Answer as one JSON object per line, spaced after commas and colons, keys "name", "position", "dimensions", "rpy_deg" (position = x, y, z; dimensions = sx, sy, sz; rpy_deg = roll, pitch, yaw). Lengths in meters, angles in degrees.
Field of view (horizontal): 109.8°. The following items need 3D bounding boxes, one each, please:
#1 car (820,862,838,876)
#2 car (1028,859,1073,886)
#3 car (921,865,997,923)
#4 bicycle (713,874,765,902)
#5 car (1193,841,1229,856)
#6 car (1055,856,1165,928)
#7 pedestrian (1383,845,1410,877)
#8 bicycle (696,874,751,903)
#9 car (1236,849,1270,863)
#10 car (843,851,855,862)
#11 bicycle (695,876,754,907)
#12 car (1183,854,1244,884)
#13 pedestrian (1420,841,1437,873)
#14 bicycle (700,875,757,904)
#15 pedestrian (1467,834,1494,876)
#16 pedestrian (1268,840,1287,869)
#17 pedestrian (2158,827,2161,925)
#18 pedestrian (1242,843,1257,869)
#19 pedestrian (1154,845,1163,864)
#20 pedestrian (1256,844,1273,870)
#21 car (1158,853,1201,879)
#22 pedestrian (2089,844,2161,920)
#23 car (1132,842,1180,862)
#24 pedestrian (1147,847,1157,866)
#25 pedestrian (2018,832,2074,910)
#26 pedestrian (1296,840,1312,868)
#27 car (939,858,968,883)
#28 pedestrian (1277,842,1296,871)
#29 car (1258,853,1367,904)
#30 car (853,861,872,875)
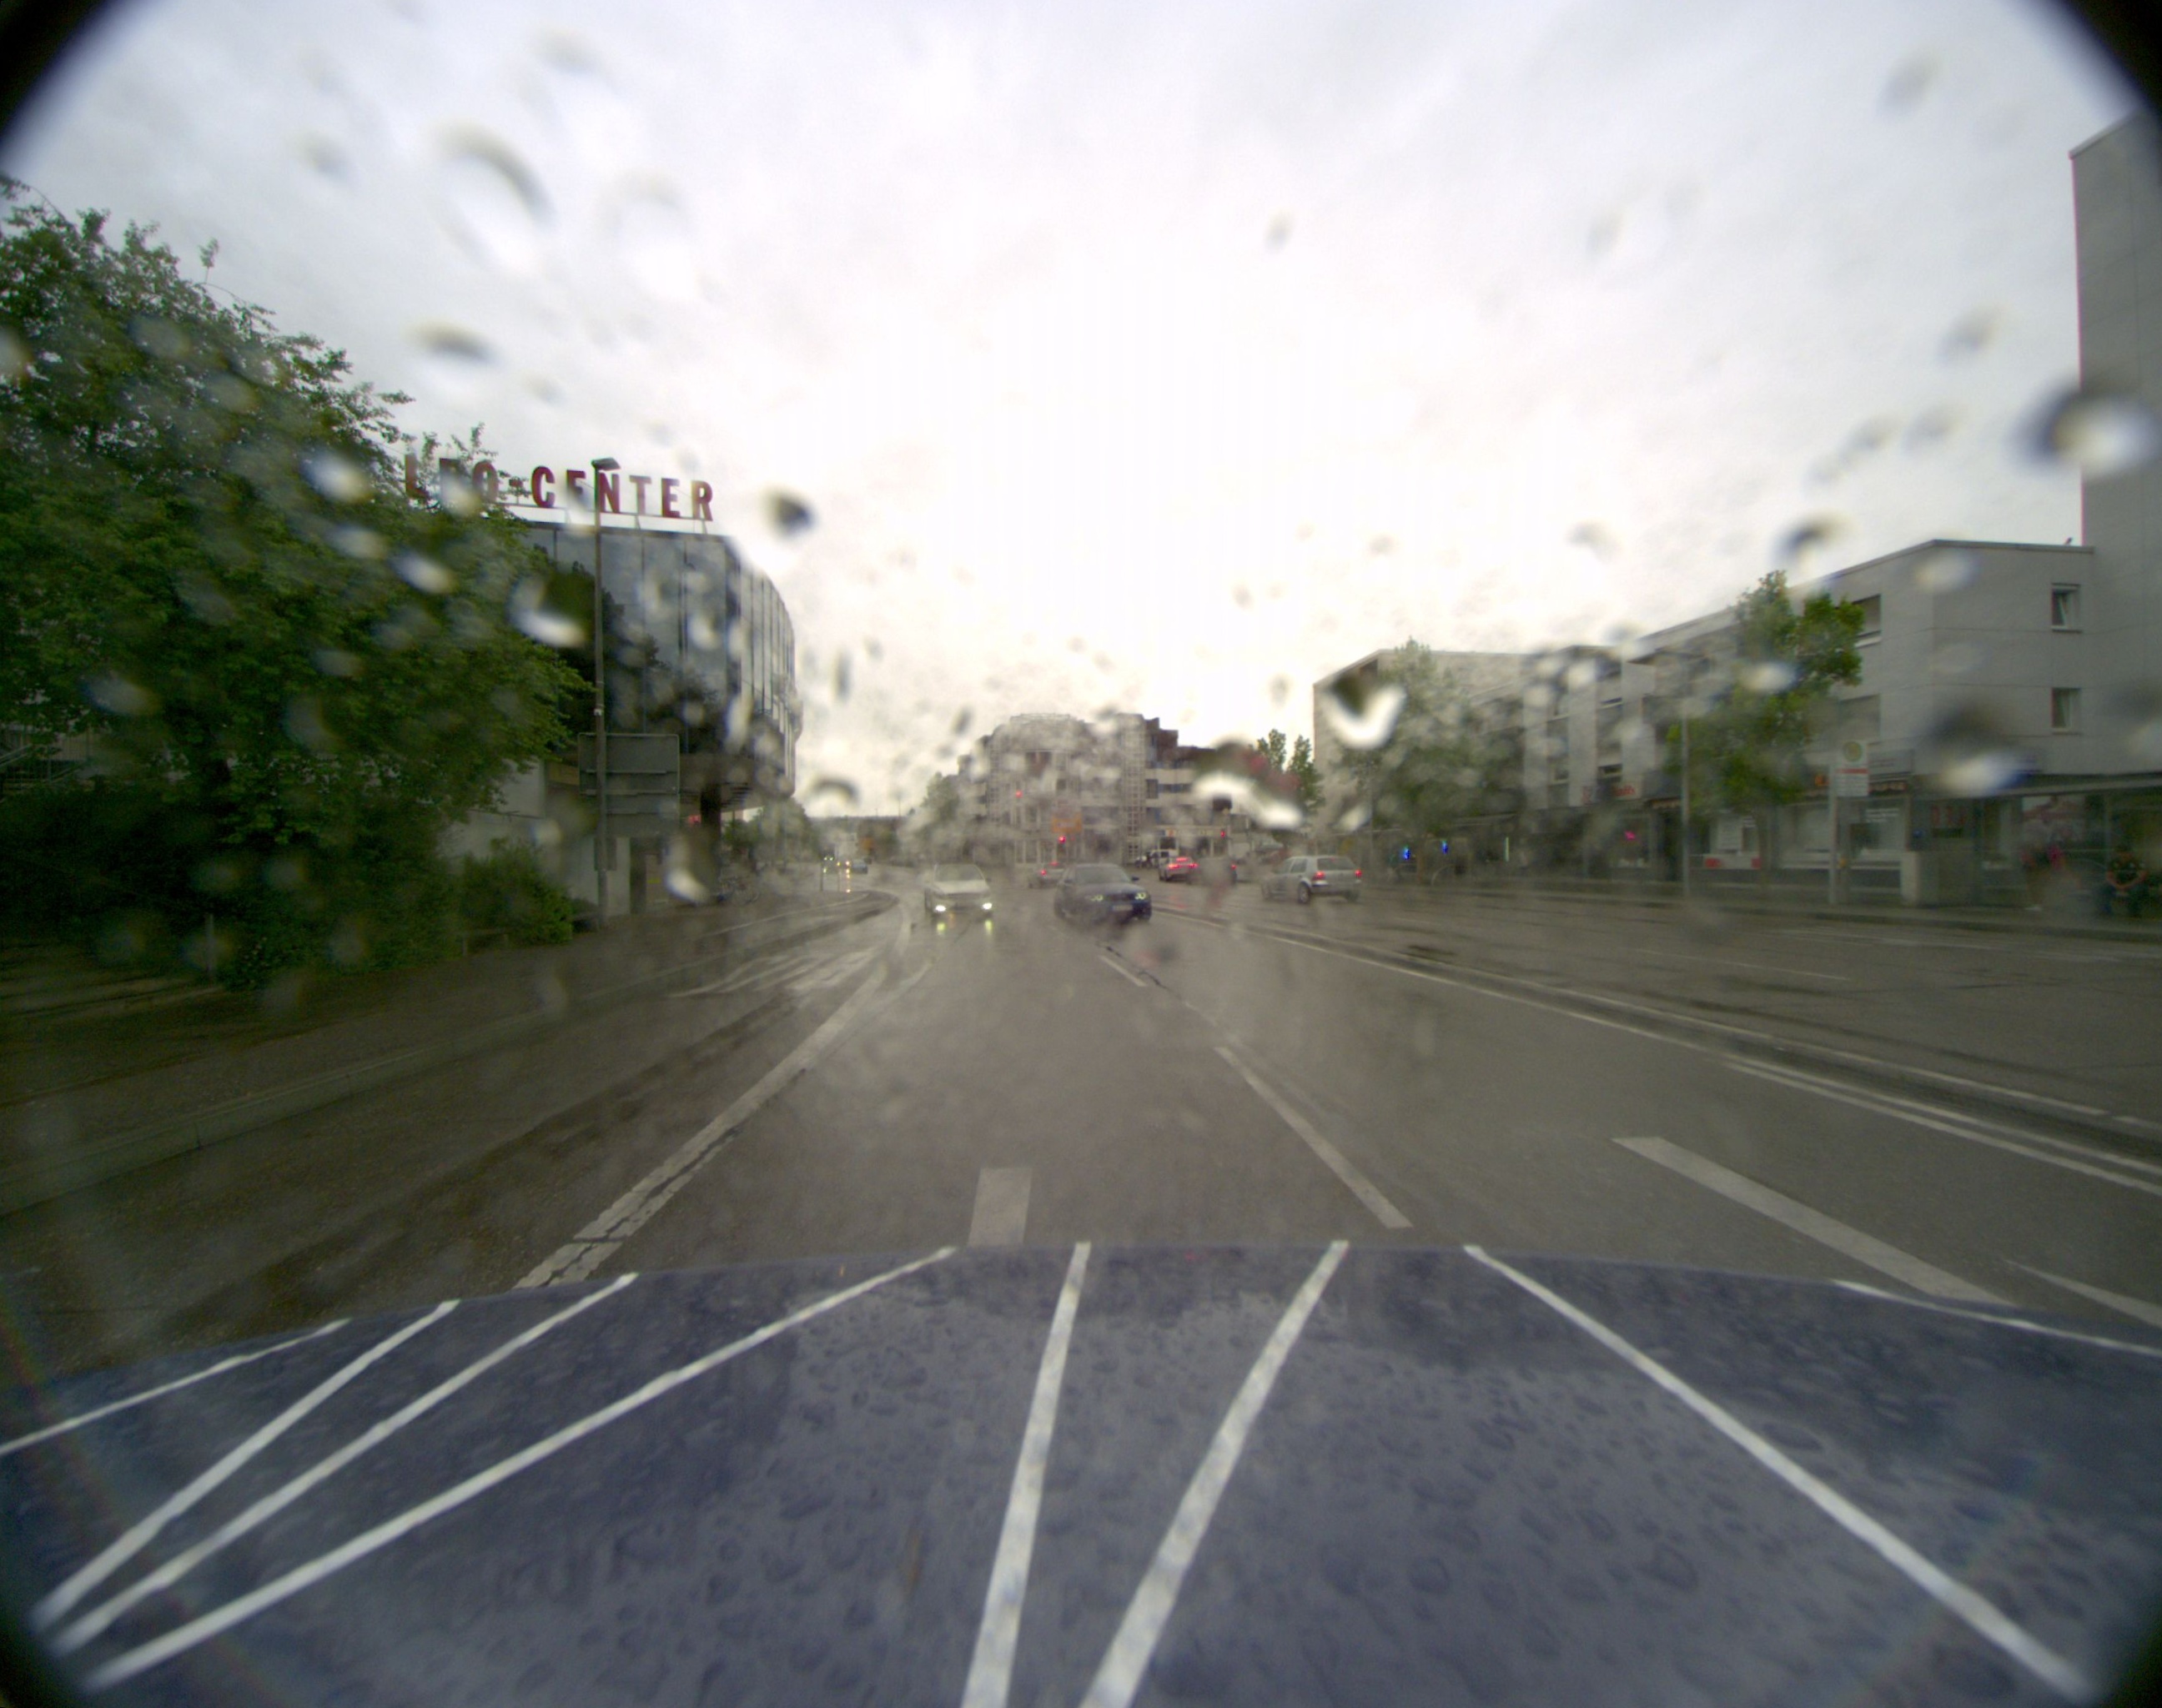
{"name": "car", "position": [-29.019, 1.698, 87.465], "dimensions": [1.903, 1.517, 3.994], "rpy_deg": [-1, 0, -18]}
{"name": "car", "position": [-1.820, 1.074, 43.926], "dimensions": [1.764, 1.442, 3.995], "rpy_deg": [-1, -1, -15]}
{"name": "car", "position": [-3.845, 1.150, 23.436], "dimensions": [1.764, 1.540, 4.320], "rpy_deg": [-1, 0, -16]}
{"name": "bicycle", "position": [-13.929, 1.368, 31.000], "dimensions": [1.836, 1.104, 0.693], "rpy_deg": [0, 1, -10]}
{"name": "car", "position": [15.505, -0.651, 90.741], "dimensions": [3.901, 1.710, 1.744], "rpy_deg": [-1, 0, -26]}
{"name": "car", "position": [0.590, 0.854, 18.596], "dimensions": [1.678, 1.534, 3.909], "rpy_deg": [-1, -1, -13]}
{"name": "pedestrian", "position": [16.428, 0.372, 39.591], "dimensions": [1.010, 1.636, 0.726], "rpy_deg": [-2, 1, -9]}
{"name": "bicycle", "position": [-13.879, 1.328, 29.563], "dimensions": [1.816, 1.104, 0.693], "rpy_deg": [1, 0, -10]}
{"name": "car", "position": [21.303, 0.268, 94.269], "dimensions": [3.901, 1.710, 1.744], "rpy_deg": [-1, 0, -26]}
{"name": "car", "position": [-33.324, 0.364, 108.956], "dimensions": [1.585, 1.630, 3.635], "rpy_deg": [-1, 0, -18]}
{"name": "bicycle", "position": [-13.108, 1.362, 27.976], "dimensions": [1.816, 1.104, 0.693], "rpy_deg": [1, 0, -10]}
{"name": "car", "position": [6.698, 0.740, 38.782], "dimensions": [1.763, 1.418, 3.997], "rpy_deg": [-1, -1, -10]}
{"name": "pedestrian", "position": [18.690, 0.163, 40.866], "dimensions": [0.549, 1.740, 0.680], "rpy_deg": [-1, 0, -6]}
{"name": "bicycle", "position": [-13.306, 1.354, 28.738], "dimensions": [1.807, 1.078, 0.684], "rpy_deg": [1, -1, -10]}
{"name": "pedestrian", "position": [19.210, 0.052, 36.533], "dimensions": [0.761, 2.002, 0.864], "rpy_deg": [-1, 0, -6]}
{"name": "pedestrian", "position": [13.664, 0.046, 52.797], "dimensions": [0.906, 2.002, 0.977], "rpy_deg": [-1, 0, -9]}
{"name": "pedestrian", "position": [18.451, 0.359, 12.592], "dimensions": [0.479, 1.649, 0.536], "rpy_deg": [-1, 1, -7]}
{"name": "pedestrian", "position": [12.875, 0.148, 58.107], "dimensions": [0.905, 1.904, 0.977], "rpy_deg": [-1, 0, -1]}
{"name": "pedestrian", "position": [7.503, 0.040, 73.691], "dimensions": [0.682, 1.733, 0.585], "rpy_deg": [-2, 1, 17]}
{"name": "pedestrian", "position": [14.031, 0.217, 58.066], "dimensions": [0.906, 1.904, 0.977], "rpy_deg": [-1, 0, -9]}
{"name": "car", "position": [5.862, 0.666, 45.724], "dimensions": [1.762, 1.418, 4.886], "rpy_deg": [-2, 0, -1]}
{"name": "pedestrian", "position": [19.098, 0.506, 13.899], "dimensions": [0.536, 1.344, 0.578], "rpy_deg": [-1, 1, -2]}
{"name": "car", "position": [7.949, -0.198, 80.513], "dimensions": [4.603, 2.002, 1.996], "rpy_deg": [-1, 0, -23]}
{"name": "pedestrian", "position": [6.748, 0.210, 72.118], "dimensions": [0.838, 1.733, 0.585], "rpy_deg": [-2, 1, -2]}
{"name": "pedestrian", "position": [19.012, 0.327, 14.970], "dimensions": [0.537, 1.496, 0.614], "rpy_deg": [-2, 1, -31]}
{"name": "pedestrian", "position": [16.043, 0.014, 54.755], "dimensions": [0.761, 2.002, 0.863], "rpy_deg": [-1, 0, -9]}
{"name": "car", "position": [-8.098, 1.033, 48.005], "dimensions": [1.634, 1.481, 3.836], "rpy_deg": [-1, 0, -12]}
{"name": "pedestrian", "position": [14.459, 0.153, 53.409], "dimensions": [0.906, 2.002, 0.977], "rpy_deg": [-1, 0, -9]}
{"name": "car", "position": [7.169, 0.699, 23.971], "dimensions": [1.705, 1.457, 4.100], "rpy_deg": [0, 0, -9]}
{"name": "car", "position": [-25.277, 1.568, 87.735], "dimensions": [1.903, 1.517, 3.994], "rpy_deg": [-1, 0, -18]}
